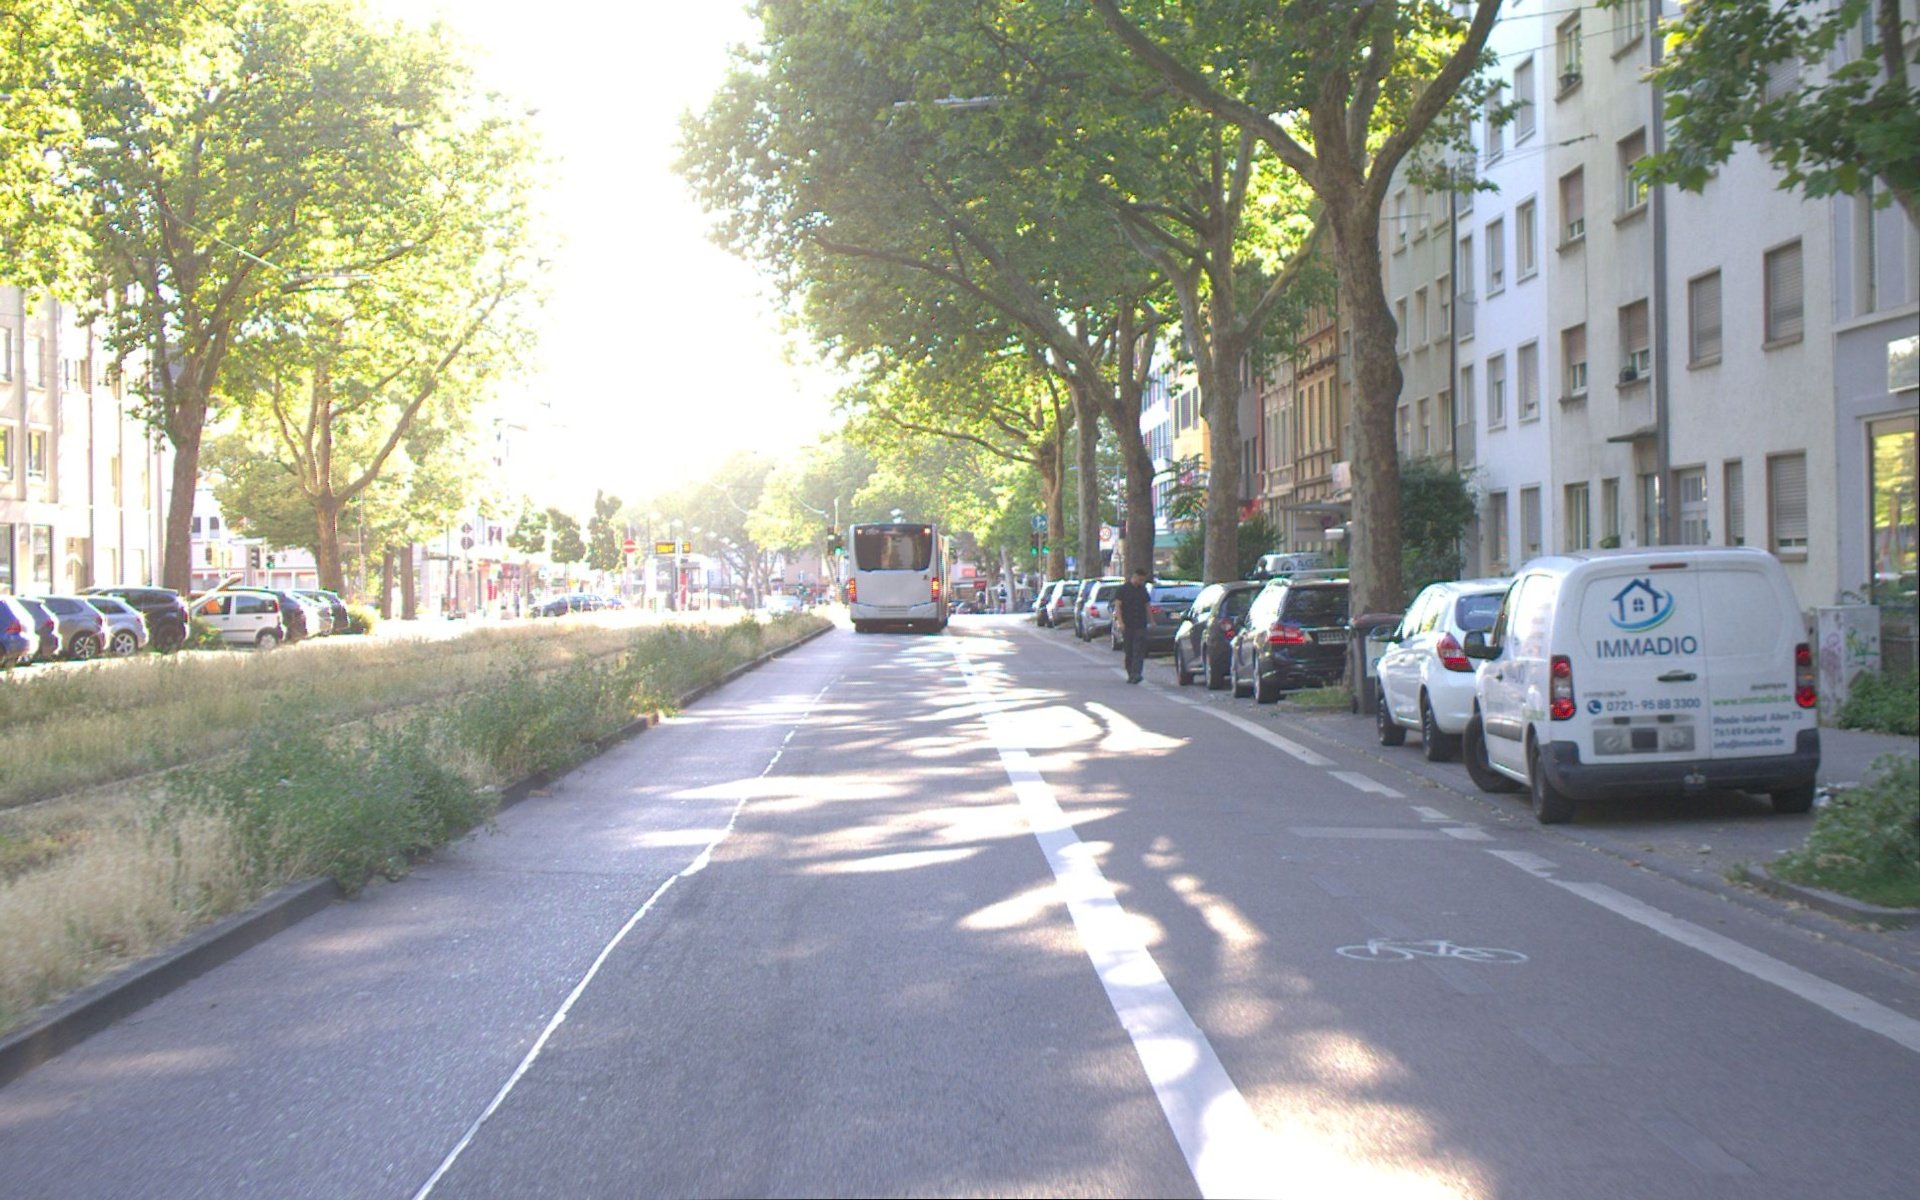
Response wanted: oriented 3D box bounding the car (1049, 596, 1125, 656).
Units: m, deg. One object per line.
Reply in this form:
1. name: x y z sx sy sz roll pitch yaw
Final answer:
1. car: 3.361 0.681 91.608 1.781 1.510 4.000 -1 0 -1

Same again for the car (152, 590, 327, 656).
1. car: -19.621 0.612 93.659 4.300 1.732 1.857 0 -1 -41

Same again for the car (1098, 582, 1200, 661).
1. car: 3.833 0.418 70.382 1.781 1.510 4.000 -1 0 -1

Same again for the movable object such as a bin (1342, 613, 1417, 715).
1. movable object such as a bin: 4.497 0.678 36.892 0.673 1.042 0.880 -1 2 -1

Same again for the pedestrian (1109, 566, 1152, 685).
1. pedestrian: 2.574 0.387 51.846 0.576 1.773 0.514 -1 0 -1

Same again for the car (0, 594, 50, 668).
1. car: -20.427 0.635 68.309 4.297 1.453 1.859 -1 0 -6

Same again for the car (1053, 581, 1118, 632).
1. car: 3.839 0.187 105.718 1.781 1.510 4.000 -1 0 -1

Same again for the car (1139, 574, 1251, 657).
1. car: 4.459 0.267 65.710 1.781 1.510 4.000 -1 0 -1

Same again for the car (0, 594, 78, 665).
1. car: -20.551 0.623 71.013 4.297 1.453 1.859 -1 0 -23

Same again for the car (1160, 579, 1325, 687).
1. car: 4.033 0.470 49.649 1.685 1.481 4.000 -1 0 -5

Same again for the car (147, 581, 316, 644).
1. car: -20.588 0.340 97.274 4.300 1.732 1.857 0 -1 -41

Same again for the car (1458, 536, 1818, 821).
1. car: 4.552 0.503 23.682 1.744 1.764 4.394 -1 0 2

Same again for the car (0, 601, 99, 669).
1. car: -21.153 0.766 74.835 4.300 1.453 1.857 0 -1 -41

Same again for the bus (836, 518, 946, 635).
1. bus: -2.063 -0.634 99.638 2.833 3.224 8.183 -1 0 -4

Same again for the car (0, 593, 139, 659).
1. car: -21.037 0.585 77.976 4.300 1.453 1.857 0 -1 -41

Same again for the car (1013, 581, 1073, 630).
1. car: 2.704 0.164 112.495 1.781 1.510 4.000 -1 0 -1

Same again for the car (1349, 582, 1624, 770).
1. car: 4.500 0.604 29.901 1.645 1.481 4.000 -1 0 -2

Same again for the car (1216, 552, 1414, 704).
1. car: 4.335 0.341 42.706 1.744 1.764 4.989 -1 0 -2

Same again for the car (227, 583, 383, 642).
1. car: -19.922 0.371 104.576 4.300 1.732 1.857 0 -1 -41

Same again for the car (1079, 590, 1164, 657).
1. car: 3.907 0.551 83.485 1.781 1.510 4.000 -1 0 -1

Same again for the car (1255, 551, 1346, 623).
1. car: 8.971 -0.319 90.943 1.883 1.853 4.326 -1 0 -1
